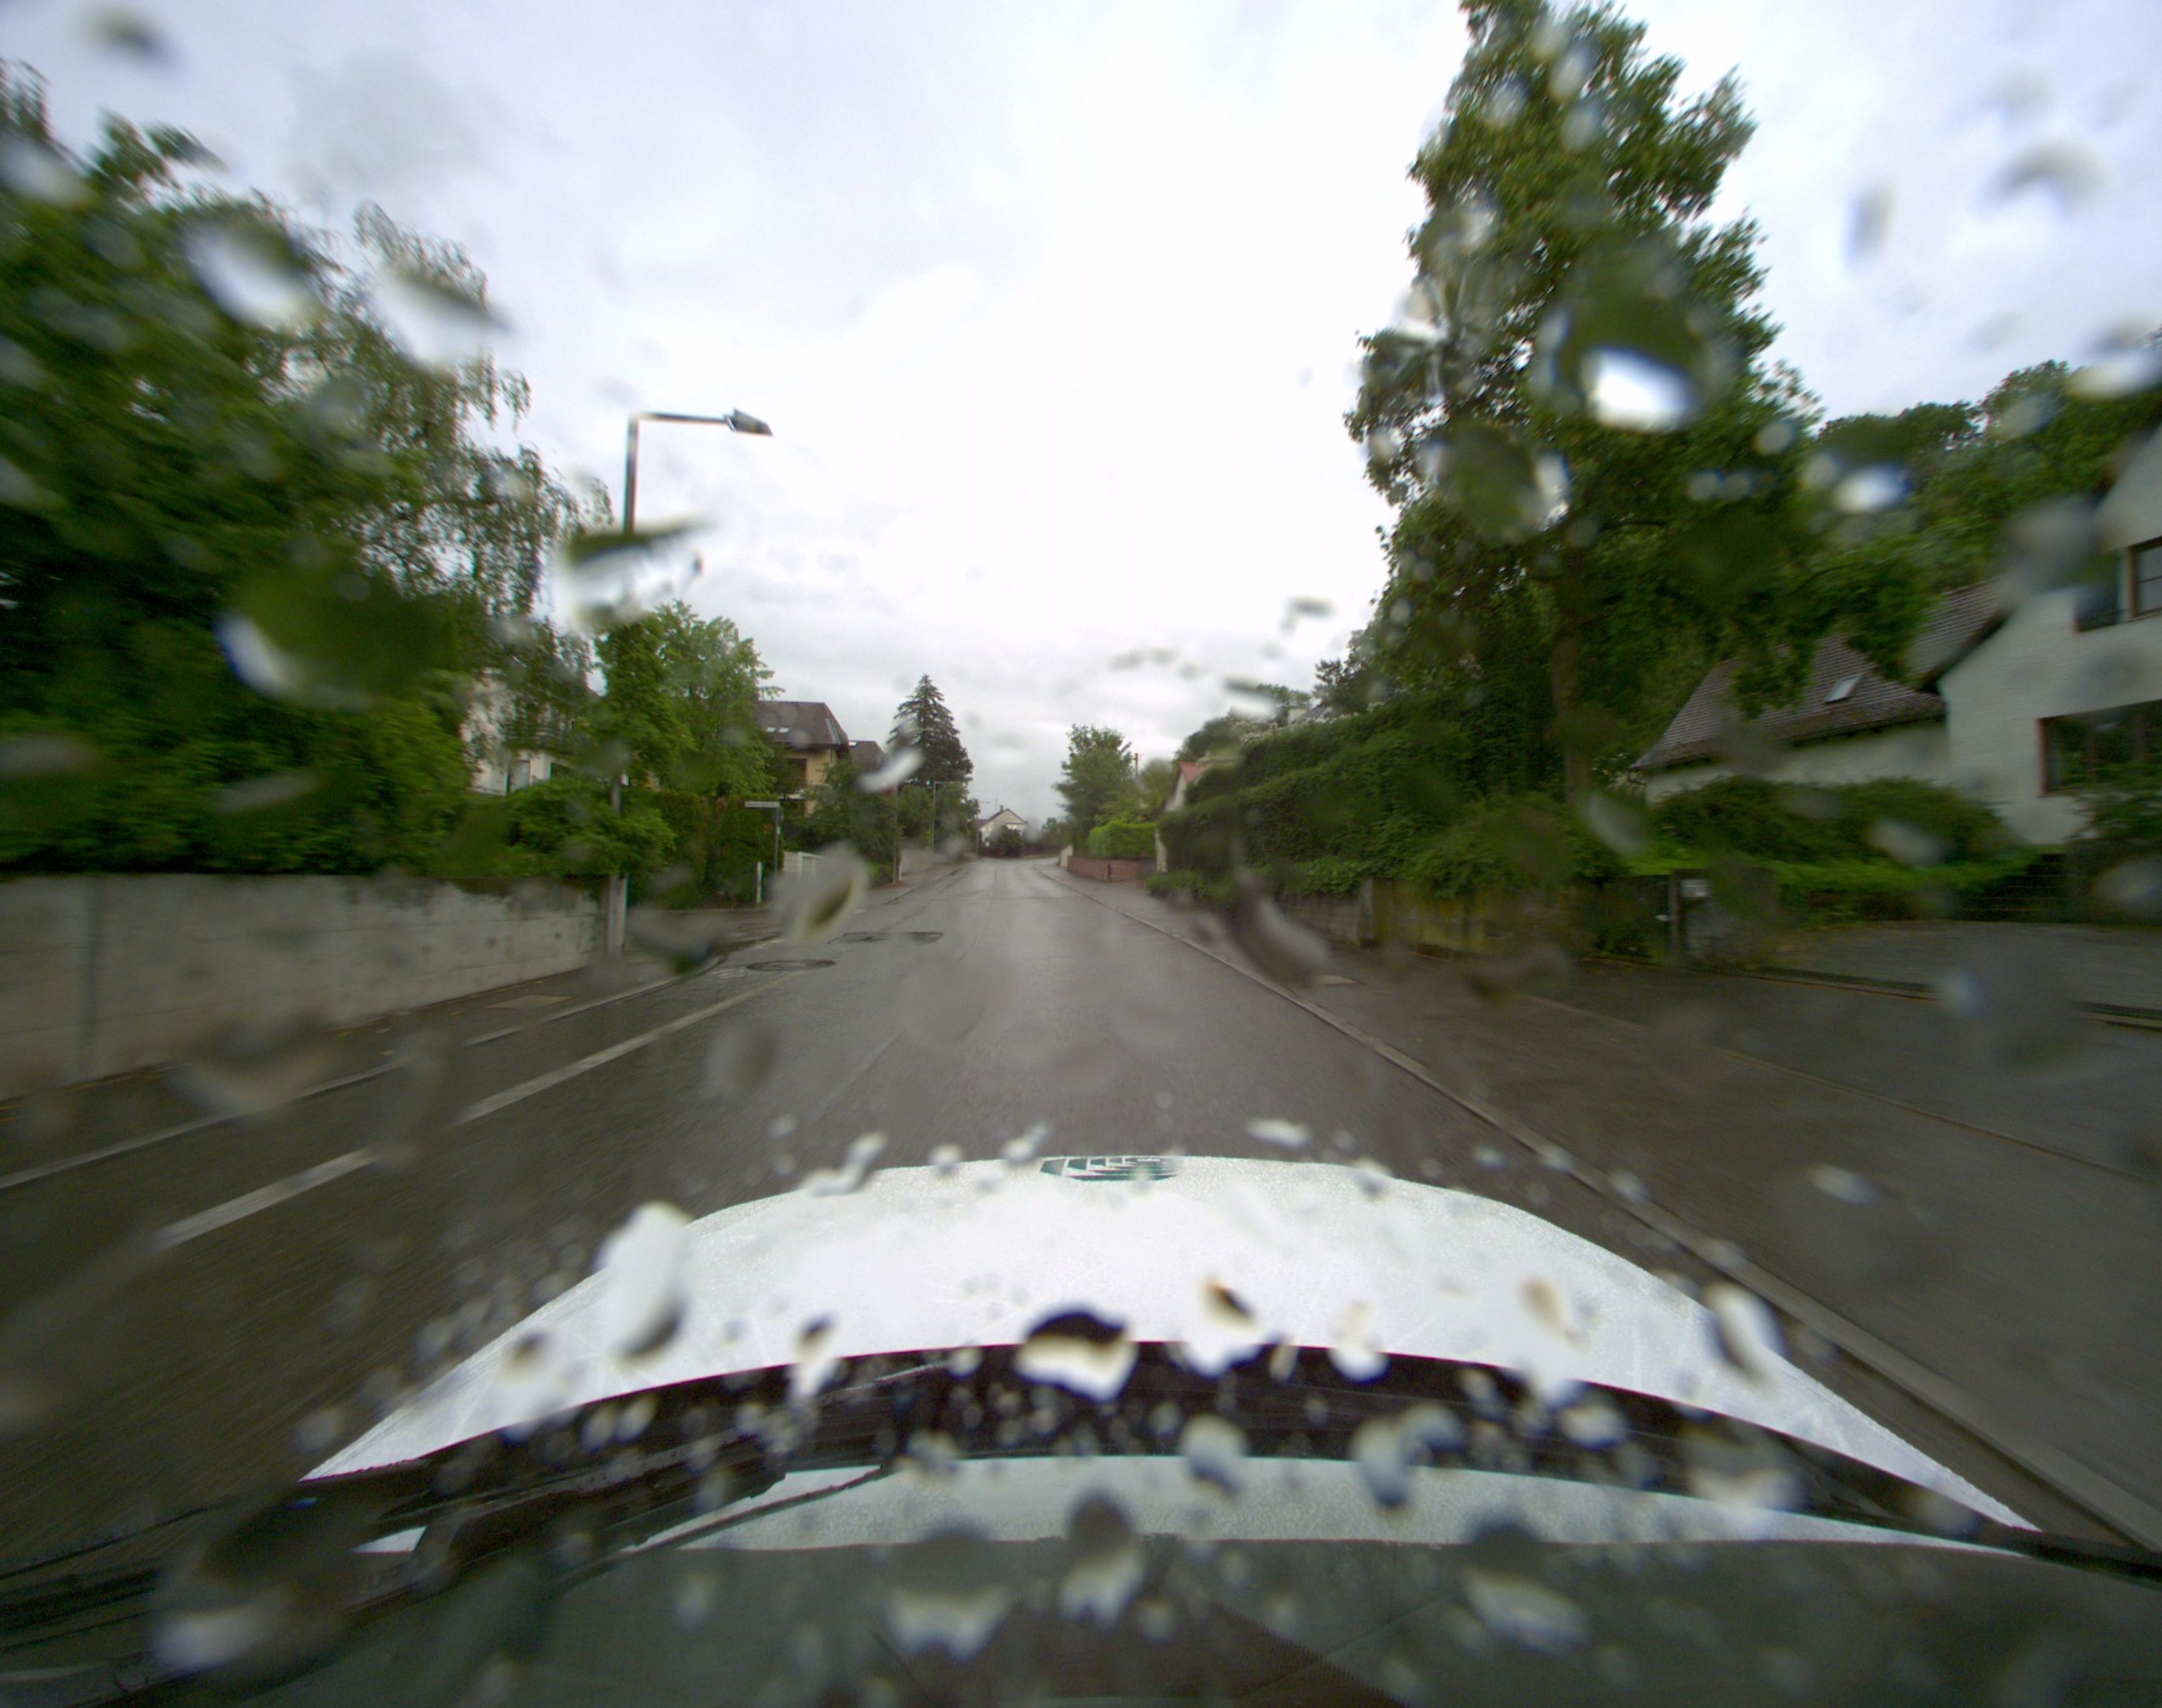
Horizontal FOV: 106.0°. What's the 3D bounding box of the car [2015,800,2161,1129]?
[{"bbox_3d":[5.934,0.492,2.503,1.529,1.535,3.839,-4,1,-4],"label":"car"}]
